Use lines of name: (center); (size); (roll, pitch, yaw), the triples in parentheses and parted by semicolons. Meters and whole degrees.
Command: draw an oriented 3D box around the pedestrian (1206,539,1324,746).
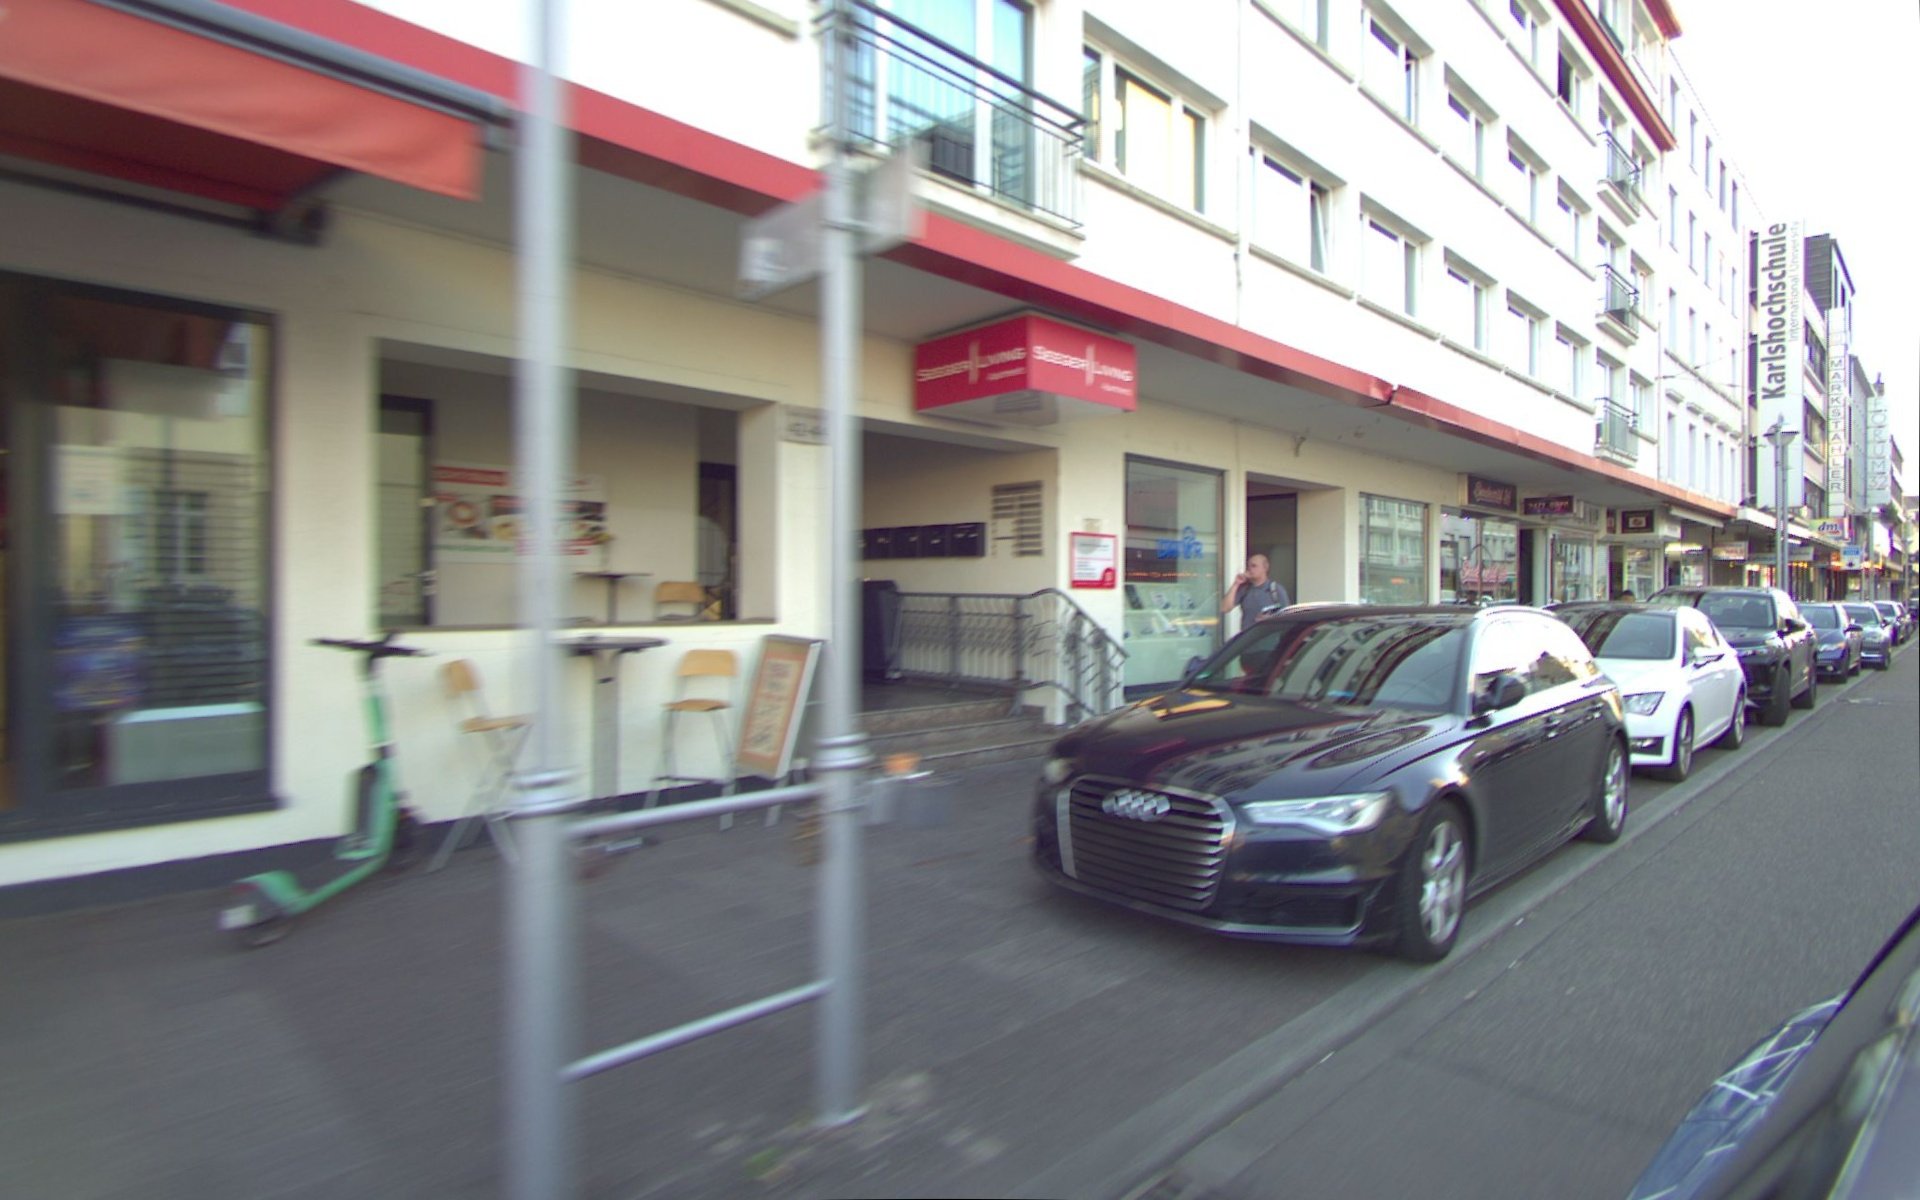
pedestrian: (2.998, 0.380, 9.939); (0.774, 1.904, 0.920); (1, 1, 44)

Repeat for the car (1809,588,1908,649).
car: (24.432, 0.473, 27.477); (3.934, 1.500, 1.727); (-1, -1, -44)

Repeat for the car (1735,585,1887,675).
car: (16.373, 0.526, 19.399); (4.285, 1.542, 1.782); (0, -1, -44)

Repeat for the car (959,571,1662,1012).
car: (2.265, 0.608, 5.565); (4.611, 1.431, 1.790); (-1, -1, -45)

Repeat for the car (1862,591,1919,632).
car: (36.269, 0.430, 39.221); (3.957, 1.481, 1.655); (-1, -1, -44)

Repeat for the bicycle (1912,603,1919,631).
bicycle: (39.792, 0.673, 40.922); (1.839, 1.124, 0.632); (-1, 0, 44)

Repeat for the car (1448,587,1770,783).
car: (6.259, 0.629, 9.556); (4.122, 1.439, 1.652); (-1, -1, -44)

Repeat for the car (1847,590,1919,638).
car: (31.476, 0.447, 34.325); (4.005, 1.533, 1.766); (-1, -1, -44)

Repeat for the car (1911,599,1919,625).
car: (62.649, 0.773, 65.284); (3.901, 1.560, 1.741); (-1, 1, -45)

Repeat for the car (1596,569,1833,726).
car: (10.025, 0.509, 13.316); (4.346, 1.722, 1.856); (-1, -1, -45)

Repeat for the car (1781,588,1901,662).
car: (20.669, 0.520, 23.661); (1.792, 1.552, 4.779); (-2, -1, 45)

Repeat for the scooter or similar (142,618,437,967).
scooter or similar: (-2.796, 0.711, 4.380); (0.329, 1.209, 1.439); (1, 1, -1)

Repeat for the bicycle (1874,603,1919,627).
bicycle: (42.655, 0.661, 45.838); (1.795, 0.984, 0.567); (4, 3, 44)

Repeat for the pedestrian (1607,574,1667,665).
pedestrian: (12.291, 0.334, 18.379); (0.951, 1.593, 0.733); (0, 0, -45)

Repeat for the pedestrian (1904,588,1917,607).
pedestrian: (88.203, -0.251, 93.918); (0.741, 1.777, 0.777); (3, 2, 42)
